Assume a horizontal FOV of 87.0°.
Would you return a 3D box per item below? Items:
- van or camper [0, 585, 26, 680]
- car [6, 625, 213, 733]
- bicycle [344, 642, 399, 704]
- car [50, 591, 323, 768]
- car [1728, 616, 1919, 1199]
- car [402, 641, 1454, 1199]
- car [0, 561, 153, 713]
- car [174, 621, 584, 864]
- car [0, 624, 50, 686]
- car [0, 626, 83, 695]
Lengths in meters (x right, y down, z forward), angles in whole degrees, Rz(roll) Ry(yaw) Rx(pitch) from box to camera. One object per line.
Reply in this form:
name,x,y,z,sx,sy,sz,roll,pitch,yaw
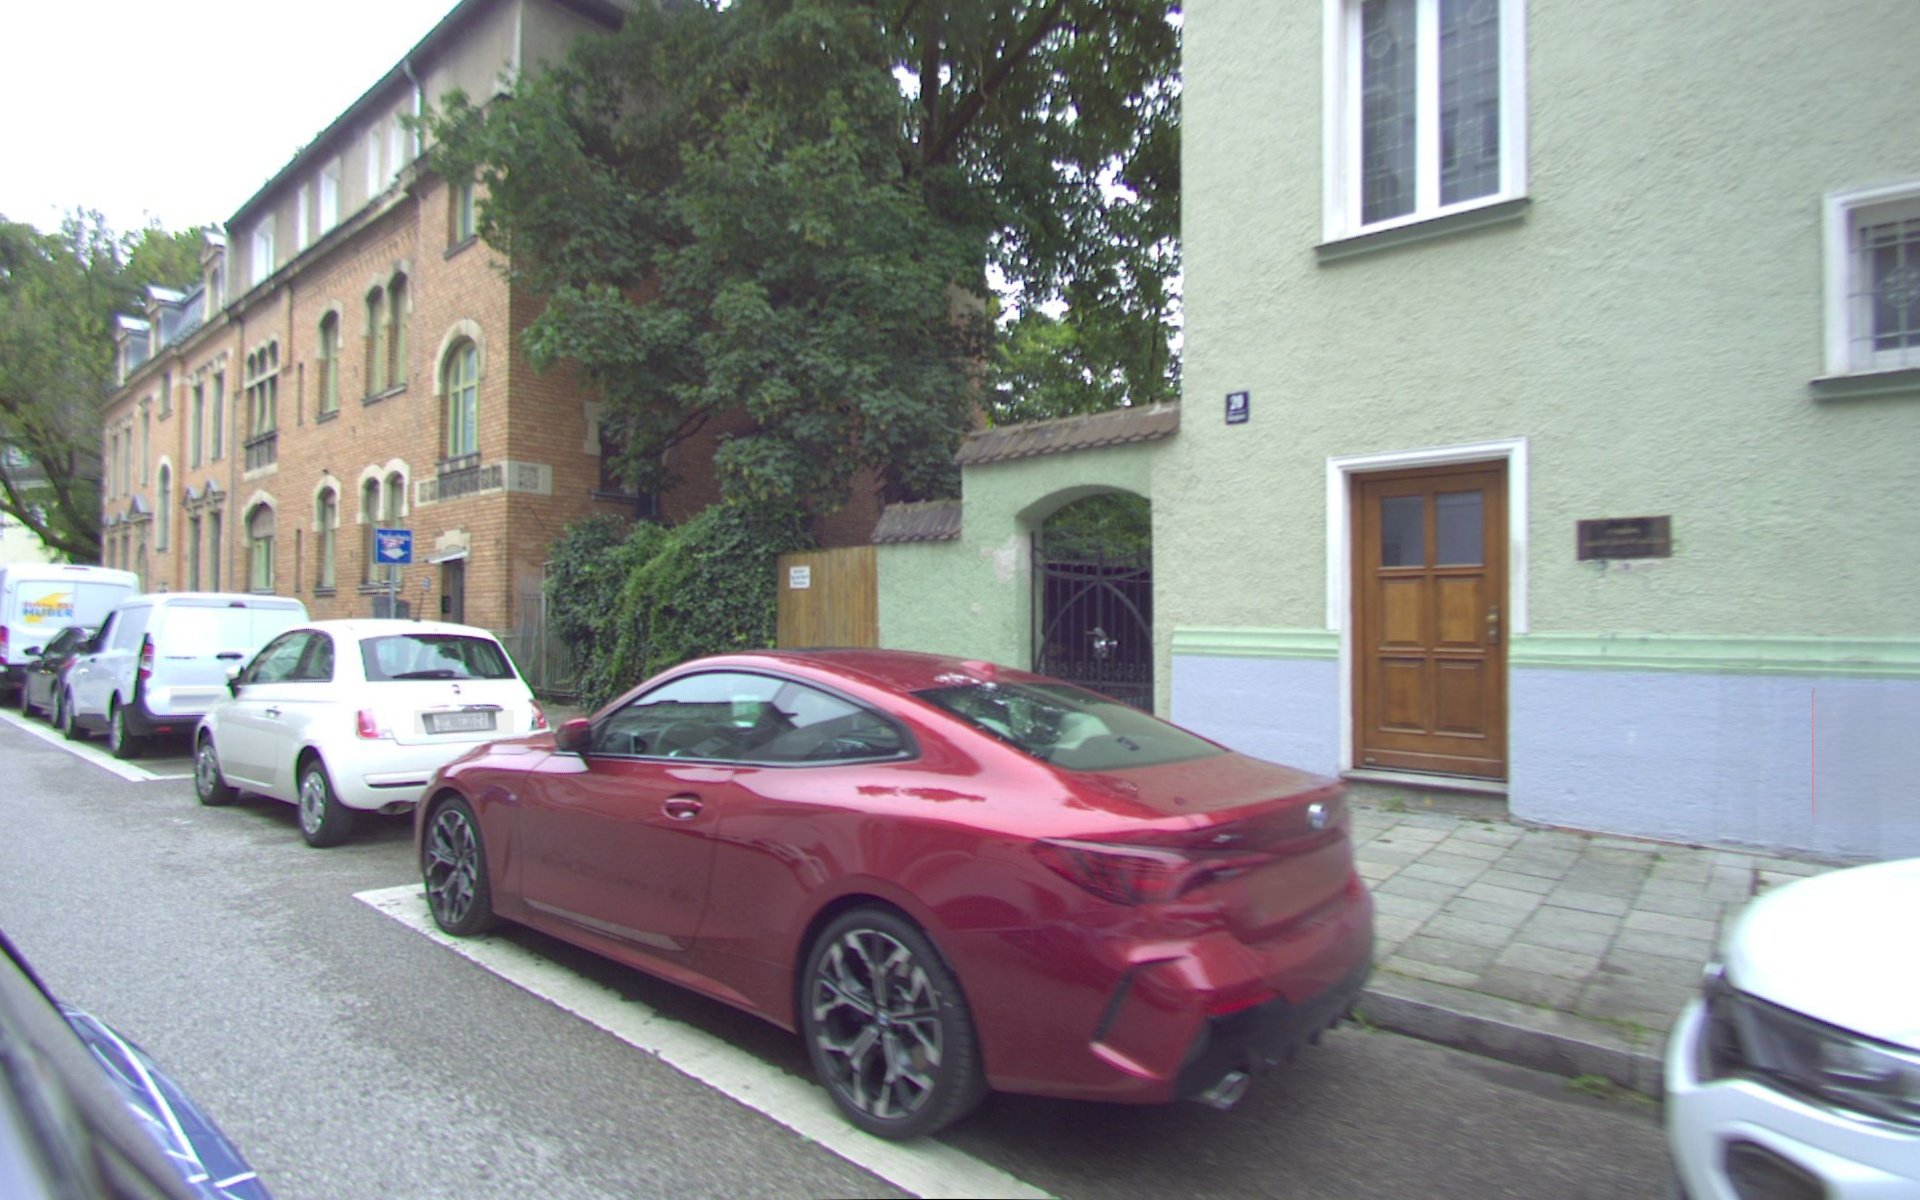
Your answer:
van or camper,-29.497,0.970,29.934,4.954,2.682,2.089,-2,-3,40
car,-12.992,1.127,15.375,4.163,1.431,1.697,-2,-3,40
bicycle,-11.182,1.361,19.206,1.470,1.093,0.430,-1,0,40
car,-9.396,0.878,12.171,4.247,1.769,1.697,-2,-3,40
car,3.303,0.778,0.877,4.104,1.542,1.662,-2,-3,40
car,-0.525,0.872,4.266,4.399,1.378,1.728,-2,-3,40
car,-17.190,0.705,19.051,5.227,2.495,2.090,-2,-3,40
car,-4.642,0.933,7.928,3.517,1.479,1.610,-1,-3,39
car,-24.945,1.387,25.999,4.077,1.512,1.747,-2,-3,40
car,-21.165,1.321,22.630,3.790,1.426,1.747,-2,-3,40
